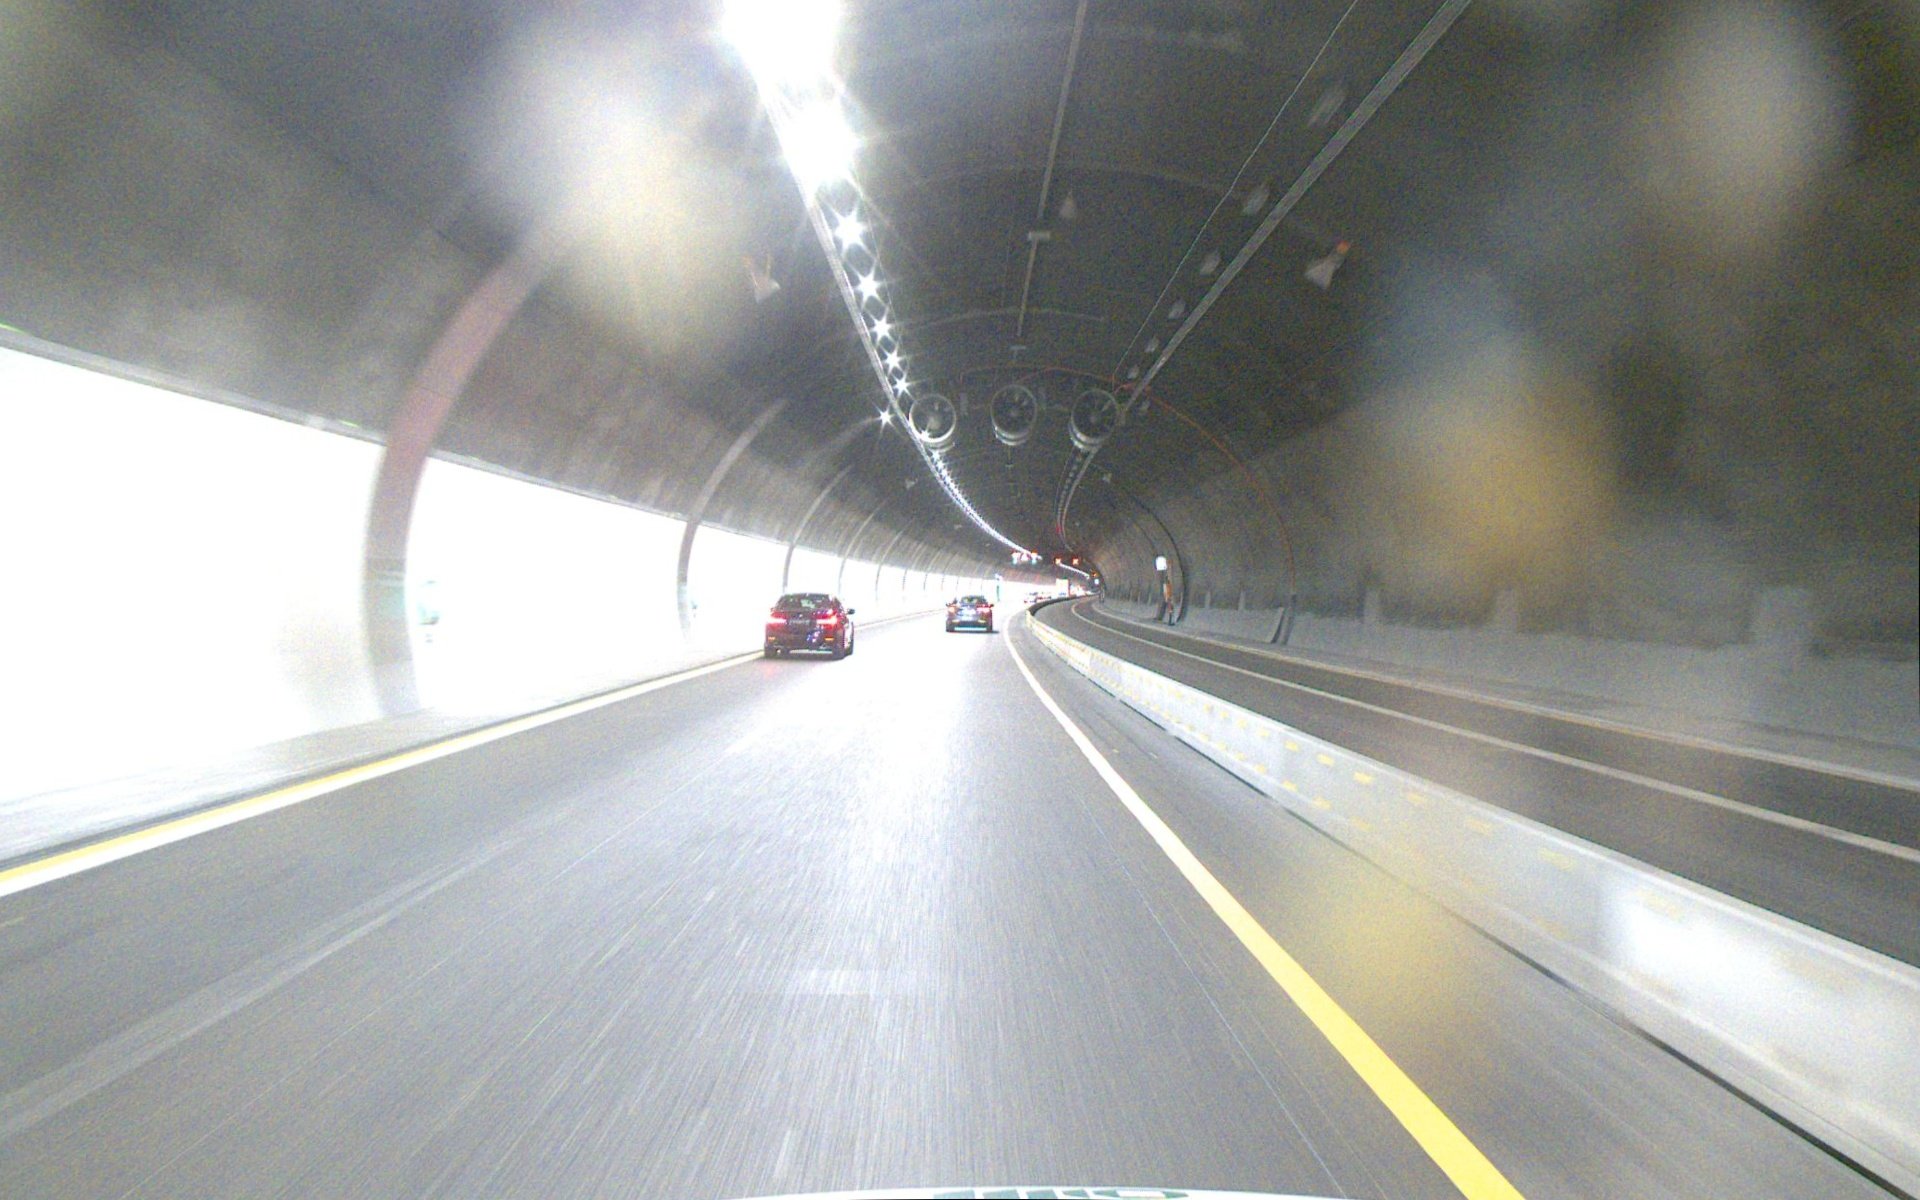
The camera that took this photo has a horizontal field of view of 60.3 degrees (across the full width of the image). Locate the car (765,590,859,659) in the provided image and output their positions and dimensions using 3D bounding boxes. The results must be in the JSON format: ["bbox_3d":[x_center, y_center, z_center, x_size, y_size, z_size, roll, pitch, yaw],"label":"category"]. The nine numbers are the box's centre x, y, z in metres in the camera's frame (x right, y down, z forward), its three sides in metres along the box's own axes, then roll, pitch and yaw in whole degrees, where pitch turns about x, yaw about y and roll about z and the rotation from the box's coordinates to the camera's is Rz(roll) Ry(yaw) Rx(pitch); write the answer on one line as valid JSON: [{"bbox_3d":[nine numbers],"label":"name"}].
[{"bbox_3d":[-3.412,0.531,38.797,1.741,1.463,4.882,1,0,0],"label":"car"}]

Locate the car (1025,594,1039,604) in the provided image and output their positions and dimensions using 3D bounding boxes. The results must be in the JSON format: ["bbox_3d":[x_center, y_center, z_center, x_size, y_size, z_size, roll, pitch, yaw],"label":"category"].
[{"bbox_3d":[9.704,-0.111,222.687,1.561,1.356,3.753,1,0,6],"label":"car"}]

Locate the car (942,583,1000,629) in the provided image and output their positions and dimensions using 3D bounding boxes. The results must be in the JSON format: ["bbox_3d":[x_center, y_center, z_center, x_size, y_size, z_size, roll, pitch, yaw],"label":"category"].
[{"bbox_3d":[0.469,0.237,65.665,2.096,1.735,4.002,1,0,3],"label":"car"}]
